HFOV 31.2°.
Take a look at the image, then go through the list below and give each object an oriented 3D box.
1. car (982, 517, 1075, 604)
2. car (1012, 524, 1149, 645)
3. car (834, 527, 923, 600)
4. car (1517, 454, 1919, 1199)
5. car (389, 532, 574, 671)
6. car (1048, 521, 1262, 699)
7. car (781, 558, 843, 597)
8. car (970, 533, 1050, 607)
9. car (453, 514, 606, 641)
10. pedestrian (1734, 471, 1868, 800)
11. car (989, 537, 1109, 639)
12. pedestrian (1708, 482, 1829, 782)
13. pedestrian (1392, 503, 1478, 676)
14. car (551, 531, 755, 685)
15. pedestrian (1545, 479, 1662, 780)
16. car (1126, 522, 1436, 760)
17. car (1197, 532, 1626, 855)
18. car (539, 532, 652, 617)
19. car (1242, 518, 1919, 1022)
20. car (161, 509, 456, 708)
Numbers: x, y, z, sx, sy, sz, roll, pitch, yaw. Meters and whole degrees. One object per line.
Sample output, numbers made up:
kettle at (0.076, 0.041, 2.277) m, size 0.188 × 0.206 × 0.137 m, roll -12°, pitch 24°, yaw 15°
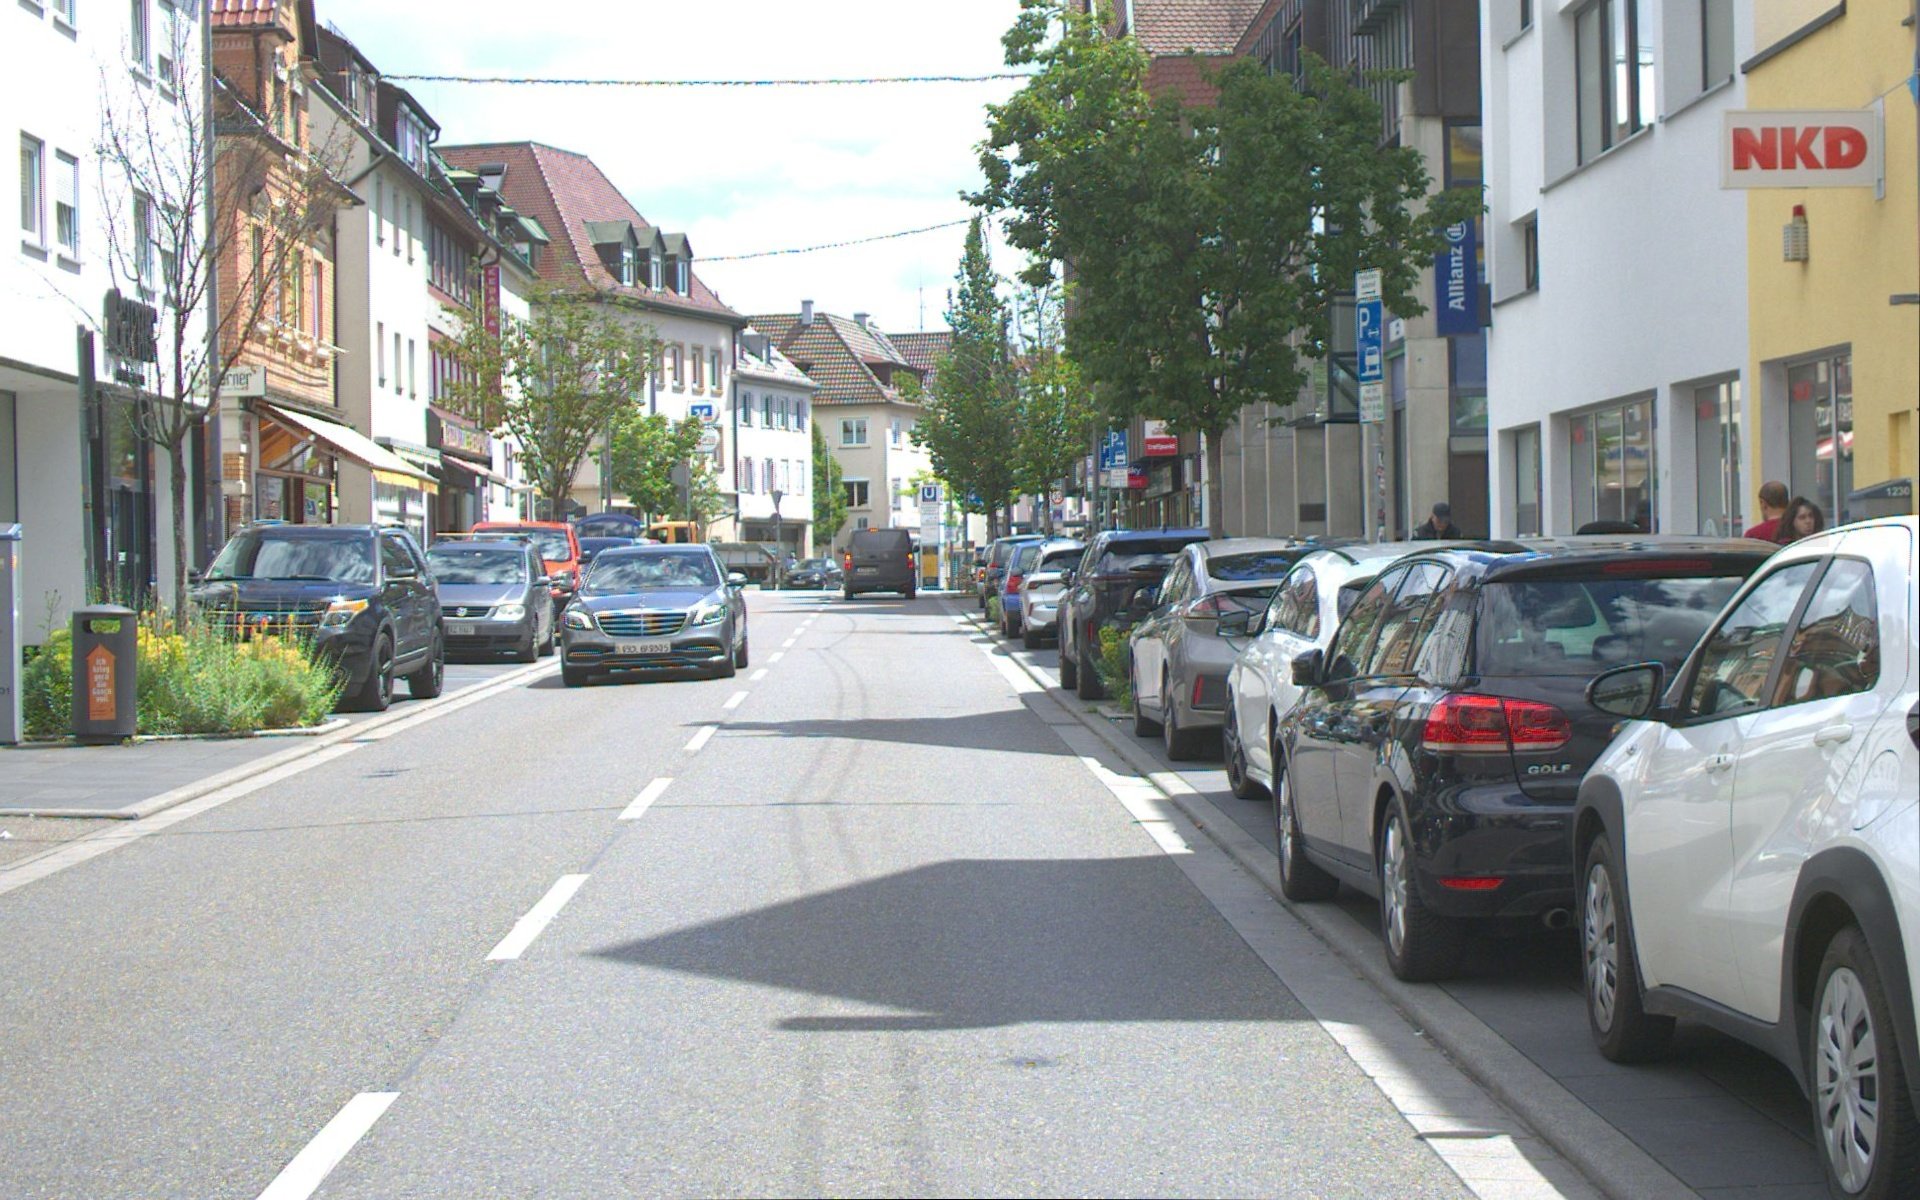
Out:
car at (1.251, -0.743, 63.978) m, size 1.609 × 1.527 × 3.795 m, roll -2°, pitch 1°, yaw 0°
car at (1.617, -0.216, 47.471) m, size 1.721 × 1.571 × 4.428 m, roll 1°, pitch 0°, yaw 0°
car at (-2.184, -0.948, 90.759) m, size 2.040 × 1.842 × 5.000 m, roll 1°, pitch 0°, yaw -5°
car at (2.583, 0.507, 8.501) m, size 1.689 × 1.568 × 3.756 m, roll 1°, pitch 0°, yaw -1°
car at (-6.351, 0.011, 46.026) m, size 1.816 × 1.749 × 4.464 m, roll 1°, pitch 0°, yaw 0°
car at (1.800, 0.082, 32.821) m, size 1.721 × 1.571 × 4.109 m, roll 1°, pitch 0°, yaw -1°
car at (-5.795, -0.882, 134.929) m, size 1.625 × 1.481 × 3.803 m, roll 1°, pitch 0°, yaw 10°
car at (1.082, -0.673, 75.914) m, size 1.609 × 1.490 × 3.795 m, roll -4°, pitch 1°, yaw 0°
car at (-6.706, -0.348, 53.964) m, size 1.816 × 1.882 × 4.841 m, roll 1°, pitch 0°, yaw -1°
pedestrian at (4.777, 0.199, 19.549) m, size 0.588 × 1.834 × 0.576 m, roll 1°, pitch 0°, yaw -1°
car at (1.327, -0.186, 52.857) m, size 1.721 × 1.488 × 4.109 m, roll 1°, pitch 0°, yaw 0°
pedestrian at (5.025, 0.195, 21.388) m, size 0.588 × 1.834 × 0.576 m, roll 1°, pitch 0°, yaw -1°
pedestrian at (4.844, -0.107, 35.058) m, size 0.741 × 1.731 × 0.757 m, roll 1°, pitch 0°, yaw -1°
car at (-3.403, 0.038, 38.899) m, size 1.905 × 1.558 × 4.646 m, roll -3°, pitch 1°, yaw -1°
pedestrian at (3.985, 0.181, 21.311) m, size 0.588 × 1.834 × 0.576 m, roll 1°, pitch 0°, yaw -1°
car at (2.124, 0.247, 23.786) m, size 1.721 × 1.471 × 4.354 m, roll 1°, pitch 0°, yaw 0°
car at (2.258, 0.424, 18.377) m, size 1.630 × 1.471 × 4.957 m, roll 1°, pitch 0°, yaw 0°
car at (-7.027, -0.513, 66.572) m, size 1.799 × 1.592 × 4.389 m, roll 0°, pitch 1°, yaw -1°
car at (2.174, 0.476, 12.877) m, size 1.689 × 1.467 × 4.524 m, roll 1°, pitch 2°, yaw -2°
car at (-6.171, 0.066, 33.095) m, size 1.816 × 1.749 × 4.668 m, roll 1°, pitch 0°, yaw 1°
